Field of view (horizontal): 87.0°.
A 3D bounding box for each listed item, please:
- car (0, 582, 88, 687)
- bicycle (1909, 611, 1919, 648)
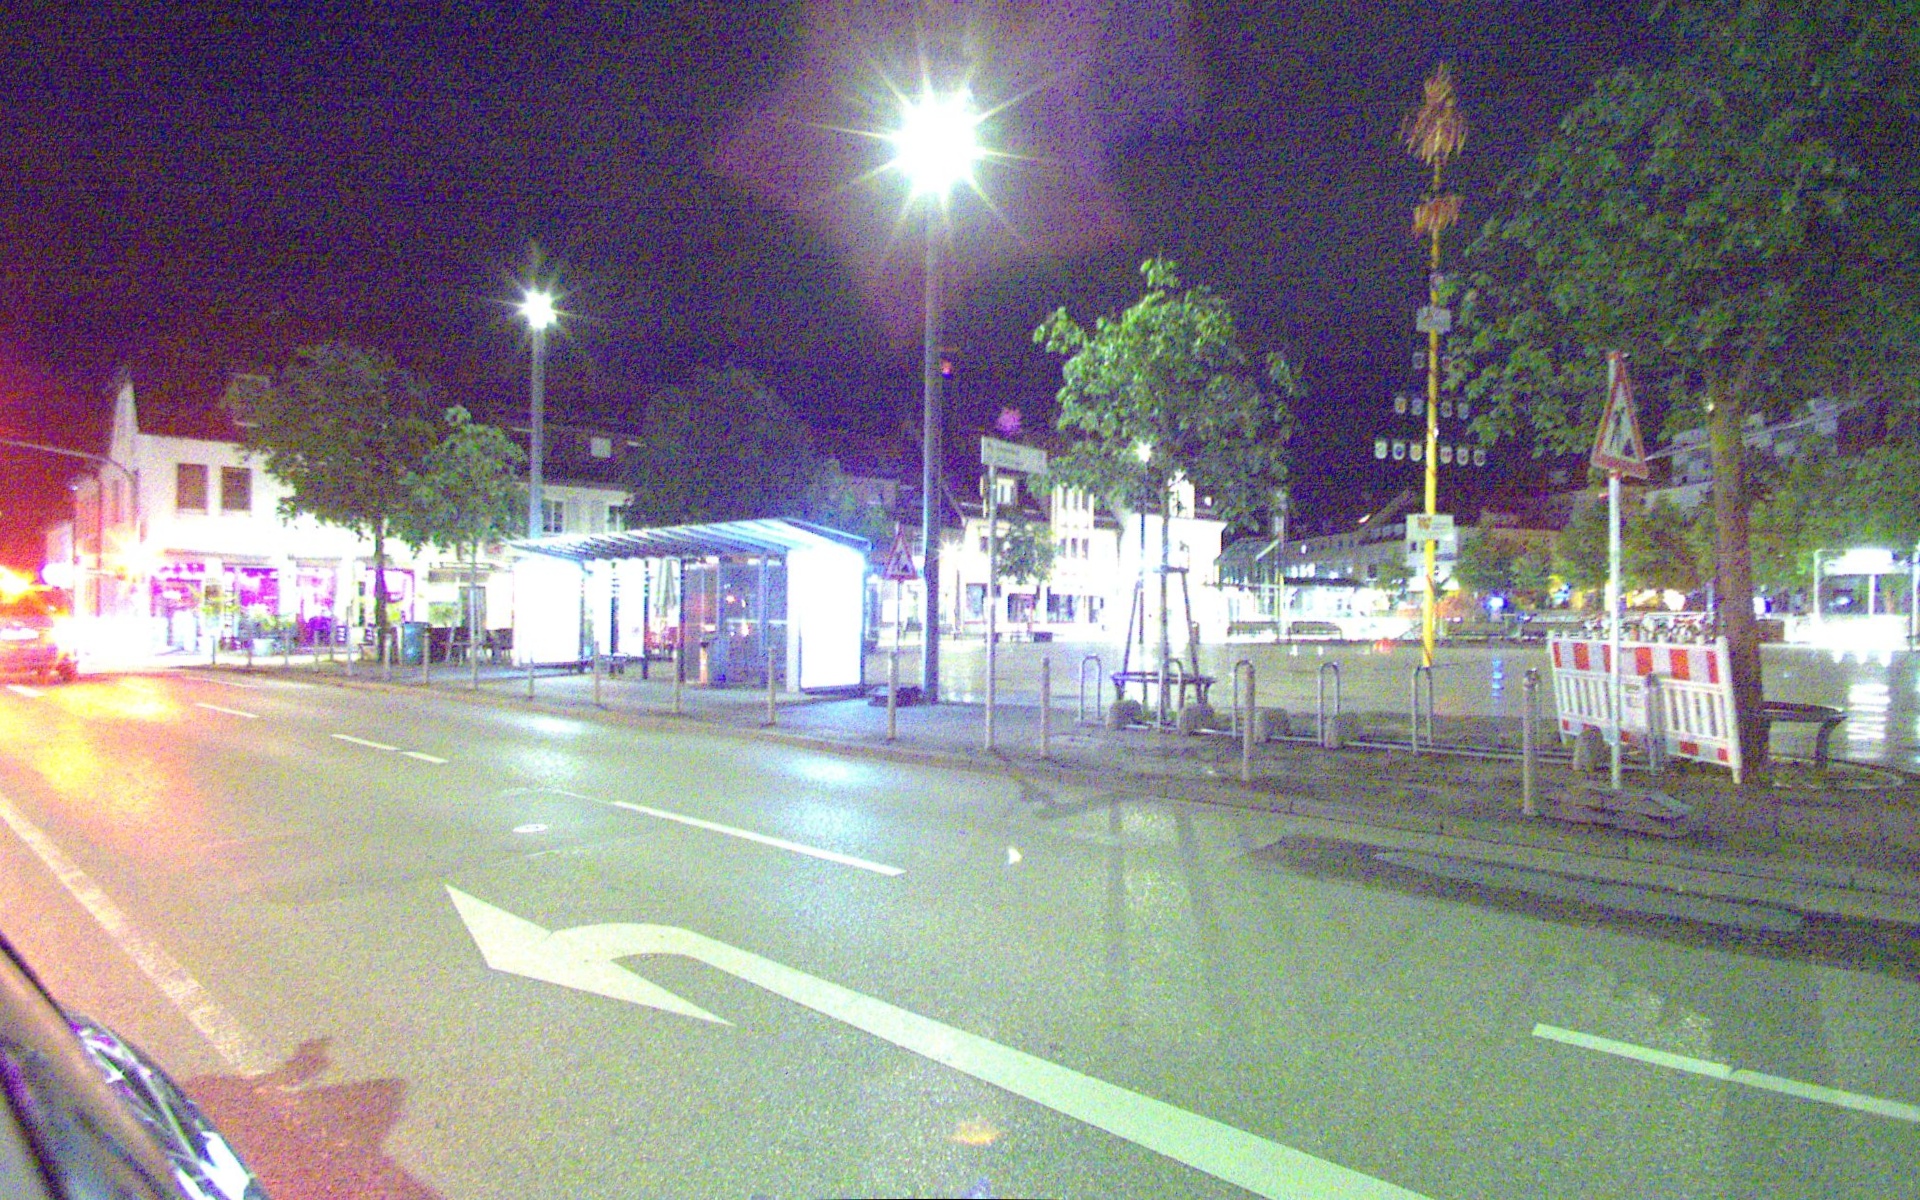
[{"bbox_3d":[-19.109,0.653,20.068,4.907,1.886,1.947,-1,-1,40],"label":"car"},{"bbox_3d":[26.409,0.788,26.971,1.525,0.965,0.476,-1,0,25],"label":"bicycle"}]
